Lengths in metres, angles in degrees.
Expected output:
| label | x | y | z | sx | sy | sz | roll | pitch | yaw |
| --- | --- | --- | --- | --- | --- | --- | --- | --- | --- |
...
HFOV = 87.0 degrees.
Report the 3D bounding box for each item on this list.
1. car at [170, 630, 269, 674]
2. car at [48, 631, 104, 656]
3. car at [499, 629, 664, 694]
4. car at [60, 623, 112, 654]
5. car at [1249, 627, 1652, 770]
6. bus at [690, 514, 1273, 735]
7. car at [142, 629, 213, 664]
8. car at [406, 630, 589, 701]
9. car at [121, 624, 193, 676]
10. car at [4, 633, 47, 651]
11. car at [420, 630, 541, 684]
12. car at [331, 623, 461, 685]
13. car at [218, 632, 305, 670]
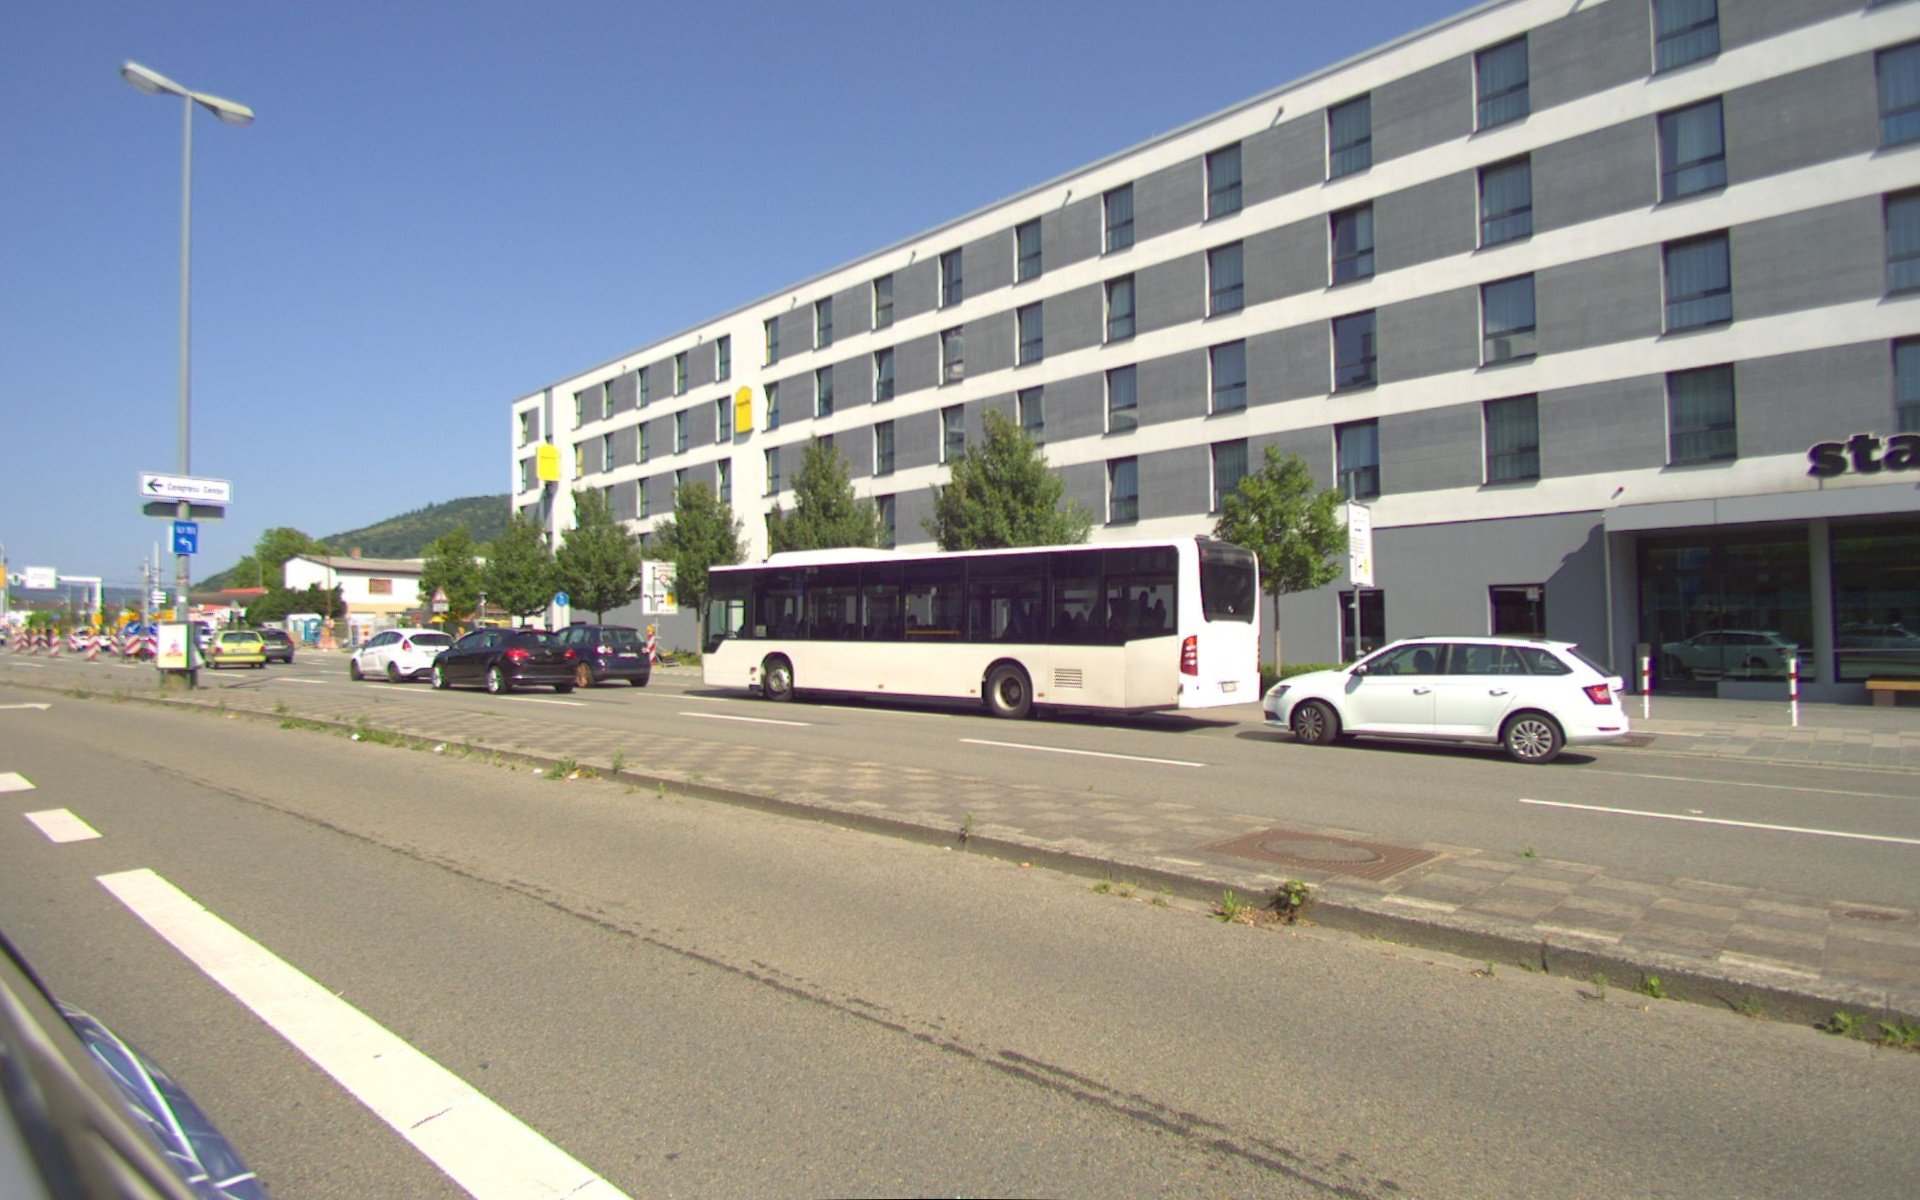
| label | x | y | z | sx | sy | sz | roll | pitch | yaw |
| --- | --- | --- | --- | --- | --- | --- | --- | --- | --- |
| car | -27.544 | 1.886 | 37.584 | 4.889 | 1.534 | 1.973 | -2 | -2 | 41 |
| car | -57.567 | 2.833 | 65.874 | 3.993 | 1.550 | 1.975 | -1 | -2 | 37 |
| car | -10.000 | 1.538 | 26.547 | 4.889 | 1.534 | 1.973 | -2 | -2 | 41 |
| car | -58.651 | 2.576 | 67.887 | 3.997 | 2.029 | 1.973 | -2 | -2 | 40 |
| car | 6.194 | 1.154 | 12.979 | 4.403 | 1.497 | 1.976 | -1 | -4 | 36 |
| bus | -0.389 | 0.514 | 19.091 | 11.967 | 3.102 | 2.710 | -1 | -4 | 40 |
| car | -40.043 | 2.342 | 51.741 | 4.889 | 1.725 | 1.973 | -2 | -2 | 41 |
| car | -10.752 | 1.427 | 23.347 | 4.888 | 1.443 | 1.973 | -1 | -2 | 41 |
| car | -34.016 | 2.057 | 42.825 | 4.162 | 2.029 | 1.658 | -1 | 0 | 41 |
| car | -72.494 | 3.235 | 78.514 | 3.933 | 1.346 | 1.793 | -1 | -2 | 38 |
| car | -14.747 | 1.730 | 31.066 | 3.975 | 1.550 | 1.835 | -2 | -4 | 40 |
| car | -15.262 | 1.400 | 27.329 | 3.996 | 1.462 | 1.742 | -1 | 0 | 40 |
| car | -30.562 | 2.197 | 44.235 | 4.889 | 1.534 | 1.973 | -2 | -2 | 41 |
